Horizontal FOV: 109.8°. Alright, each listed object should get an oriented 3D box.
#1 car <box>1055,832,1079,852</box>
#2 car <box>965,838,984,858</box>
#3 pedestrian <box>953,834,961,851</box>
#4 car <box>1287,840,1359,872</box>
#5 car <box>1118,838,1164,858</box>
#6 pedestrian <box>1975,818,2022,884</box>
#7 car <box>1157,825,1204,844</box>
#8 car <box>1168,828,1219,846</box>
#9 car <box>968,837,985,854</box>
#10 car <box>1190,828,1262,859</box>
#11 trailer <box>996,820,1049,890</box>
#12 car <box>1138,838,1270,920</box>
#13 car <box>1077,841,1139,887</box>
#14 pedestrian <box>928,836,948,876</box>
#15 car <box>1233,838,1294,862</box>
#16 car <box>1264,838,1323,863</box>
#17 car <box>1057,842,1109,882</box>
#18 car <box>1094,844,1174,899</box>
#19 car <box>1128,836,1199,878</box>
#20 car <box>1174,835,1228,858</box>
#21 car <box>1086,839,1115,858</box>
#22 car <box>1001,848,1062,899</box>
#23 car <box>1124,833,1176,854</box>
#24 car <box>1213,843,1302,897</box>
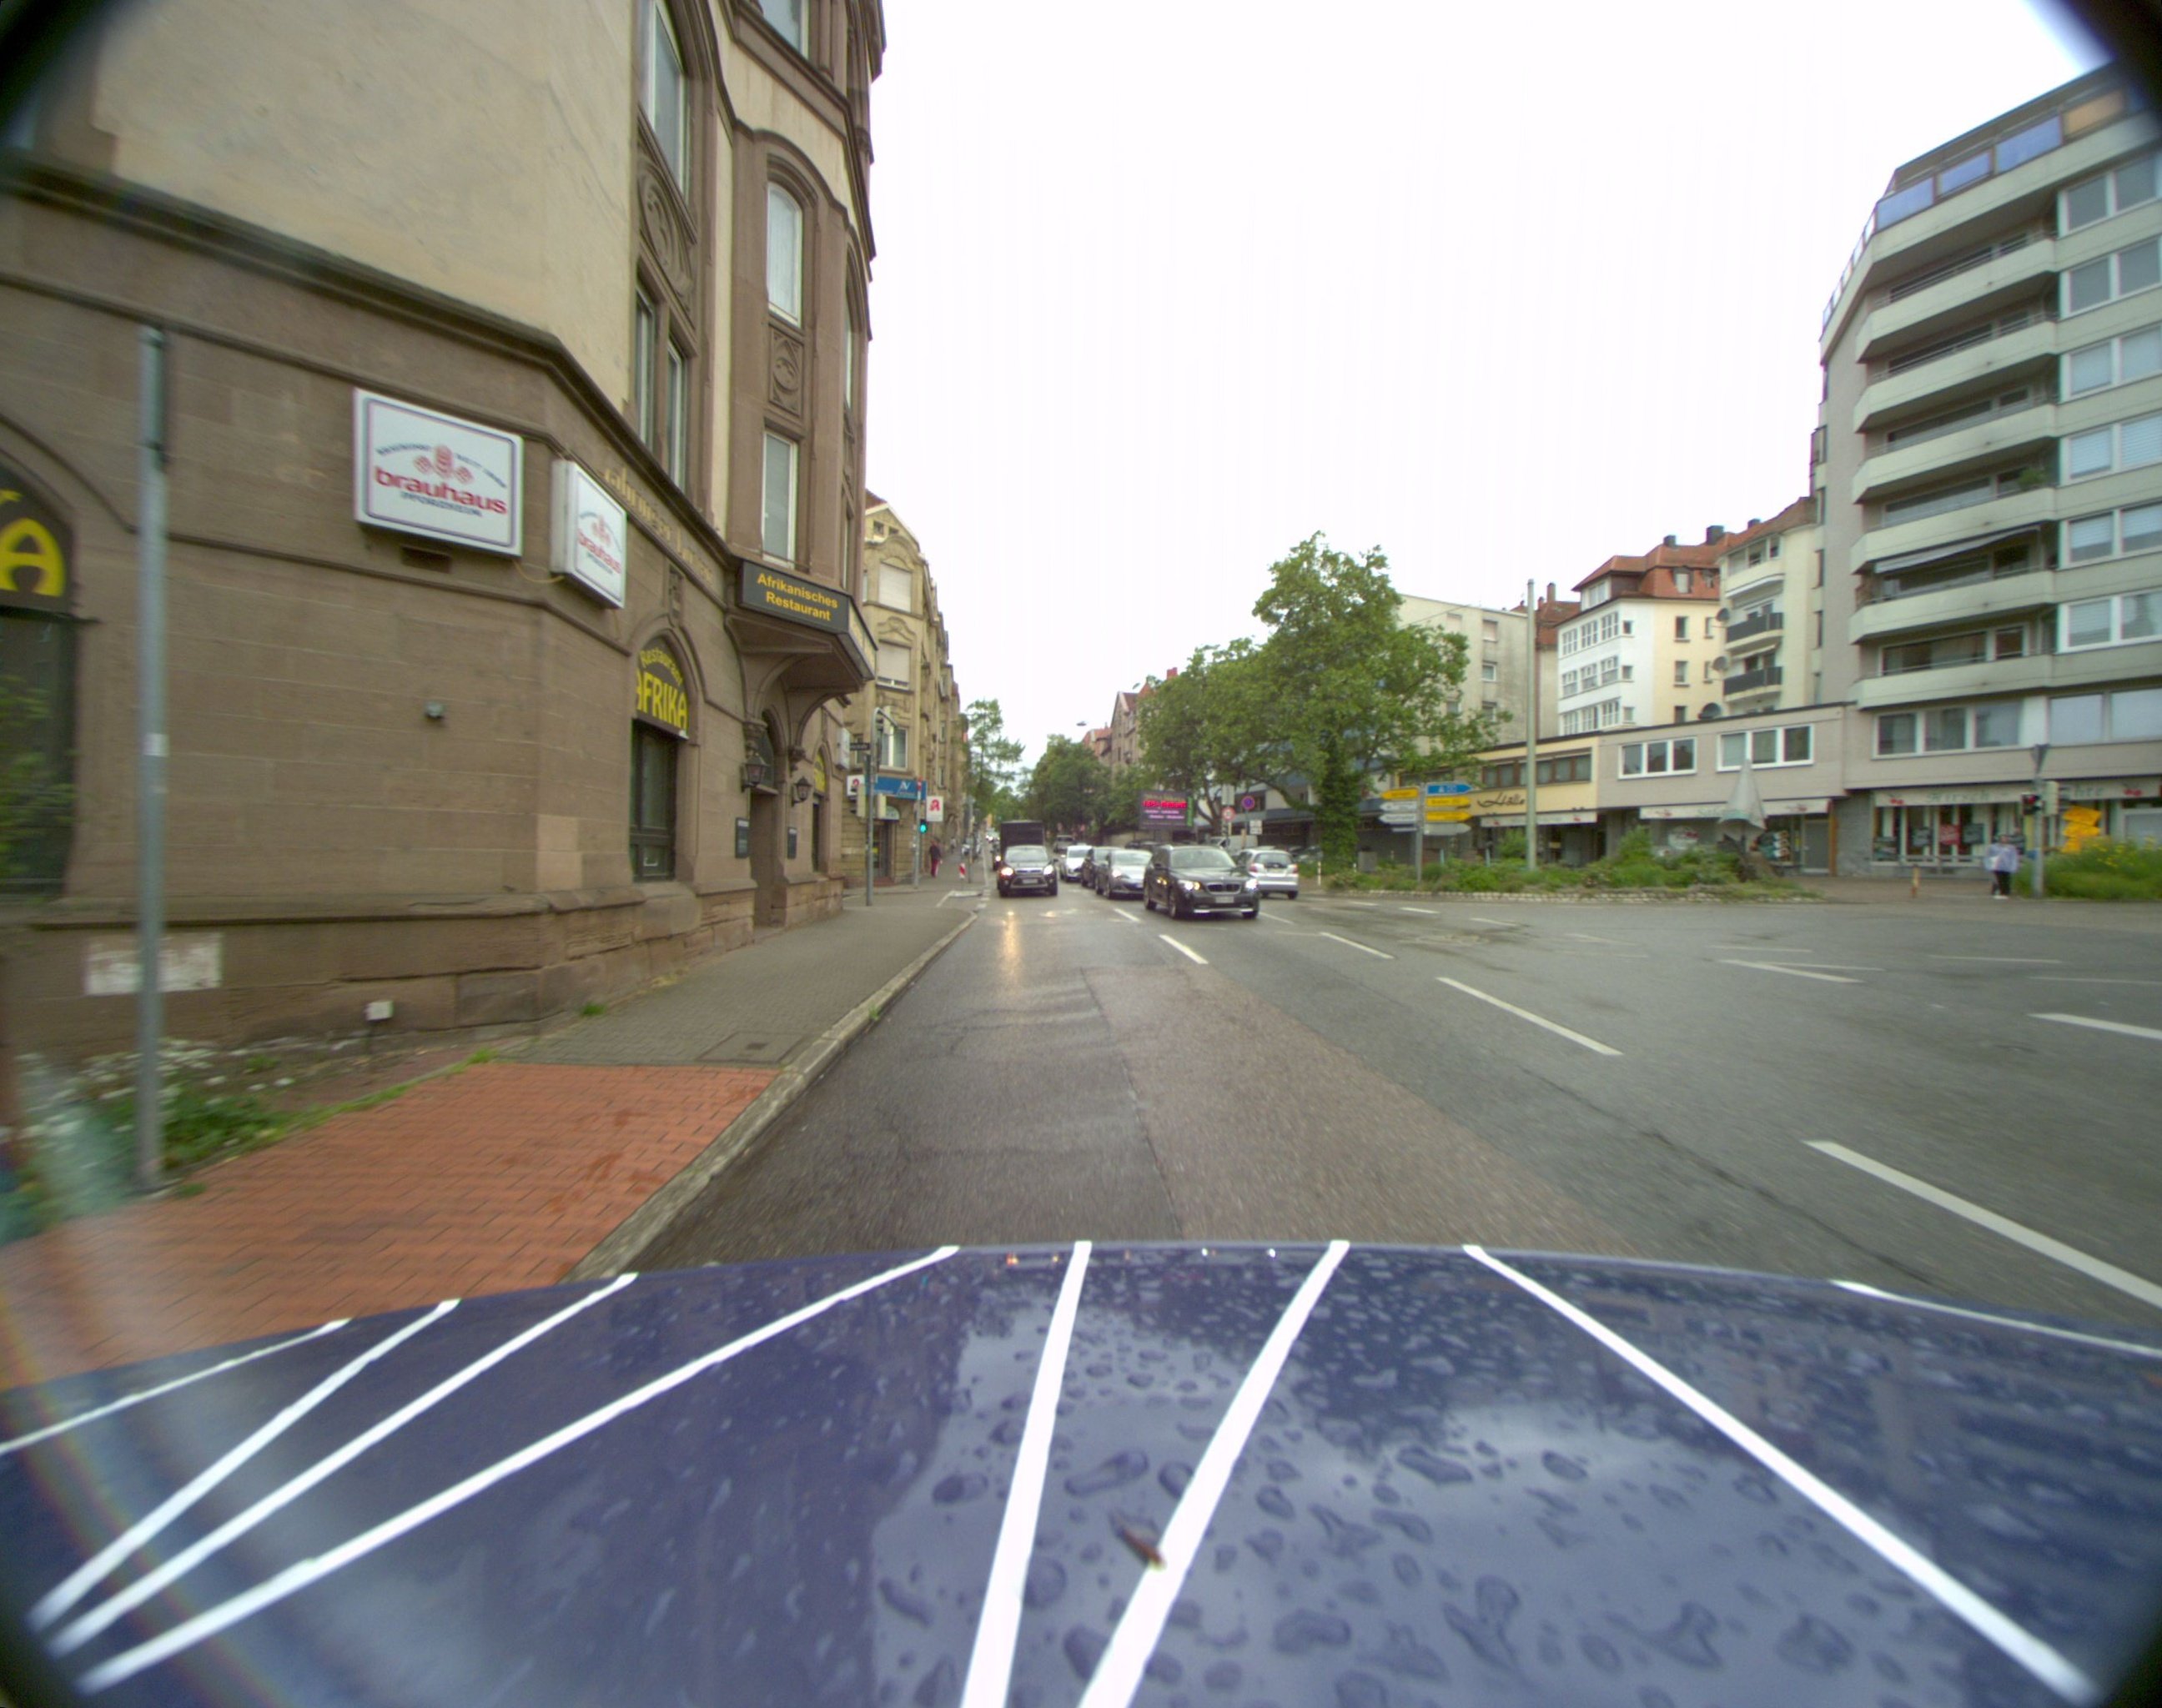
[{"bbox_3d":[-1.406,-1.225,76.382,1.819,1.871,4.237,3,2,-8],"label":"car"},{"bbox_3d":[-9.676,-0.550,69.027,1.527,1.609,3.489,4,3,-8],"label":"car"},{"bbox_3d":[-11.227,-1.059,68.805,0.645,1.489,0.690,3,5,-8],"label":"pedestrian"},{"bbox_3d":[14.199,0.081,44.483,4.223,1.634,1.936,-3,3,-37],"label":"car"},{"bbox_3d":[5.516,-0.556,69.597,3.842,1.523,1.766,-5,4,-35],"label":"car"},{"bbox_3d":[24.018,-0.075,19.907,0.618,1.683,0.626,-1,2,33],"label":"pedestrian"},{"bbox_3d":[8.387,-1.681,63.784,3.842,1.398,1.676,-5,5,-38],"label":"car"},{"bbox_3d":[9.217,-1.409,62.104,3.842,1.398,1.687,-2,3,-28],"label":"car"},{"bbox_3d":[-10.230,-0.816,74.322,1.548,1.478,3.759,4,2,-8],"label":"car"},{"bbox_3d":[10.336,-0.785,54.070,4.983,1.966,1.875,-2,3,-27],"label":"car"},{"bbox_3d":[-2.484,-0.010,31.470,1.939,2.622,4.680,-1,1,-7],"label":"trailer"},{"bbox_3d":[2.517,0.442,16.645,1.757,1.526,4.212,-1,1,-6],"label":"car"},{"bbox_3d":[0.995,0.376,30.121,1.757,1.635,4.209,-1,0,-7],"label":"car"},{"bbox_3d":[-7.159,0.090,38.089,0.699,1.939,1.090,2,5,1],"label":"pedestrian"},{"bbox_3d":[11.846,-0.265,49.318,3.711,1.408,1.807,-3,3,-33],"label":"car"},{"bbox_3d":[13.252,-0.224,47.343,3.628,1.408,1.626,-3,3,-37],"label":"car"},{"bbox_3d":[0.026,0.329,35.571,1.758,1.635,4.374,-1,2,-8],"label":"car"},{"bbox_3d":[1.507,0.453,23.052,1.757,1.474,4.178,-1,1,-5],"label":"car"},{"bbox_3d":[3.840,0.084,36.157,1.749,1.836,4.138,0,2,-19],"label":"car"},{"bbox_3d":[9.342,-0.639,59.194,3.841,1.680,1.802,-1,3,-26],"label":"car"},{"bbox_3d":[1.564,-0.446,61.624,1.719,1.488,3.679,0,1,-8],"label":"car"},{"bbox_3d":[-1.709,0.583,25.105,1.863,1.504,3.679,0,2,-6],"label":"car"},{"bbox_3d":[6.013,-0.925,66.074,4.318,1.584,1.806,-3,4,-31],"label":"car"},{"bbox_3d":[5.470,0.441,23.997,1.630,1.510,3.868,-1,1,-5],"label":"car"}]
